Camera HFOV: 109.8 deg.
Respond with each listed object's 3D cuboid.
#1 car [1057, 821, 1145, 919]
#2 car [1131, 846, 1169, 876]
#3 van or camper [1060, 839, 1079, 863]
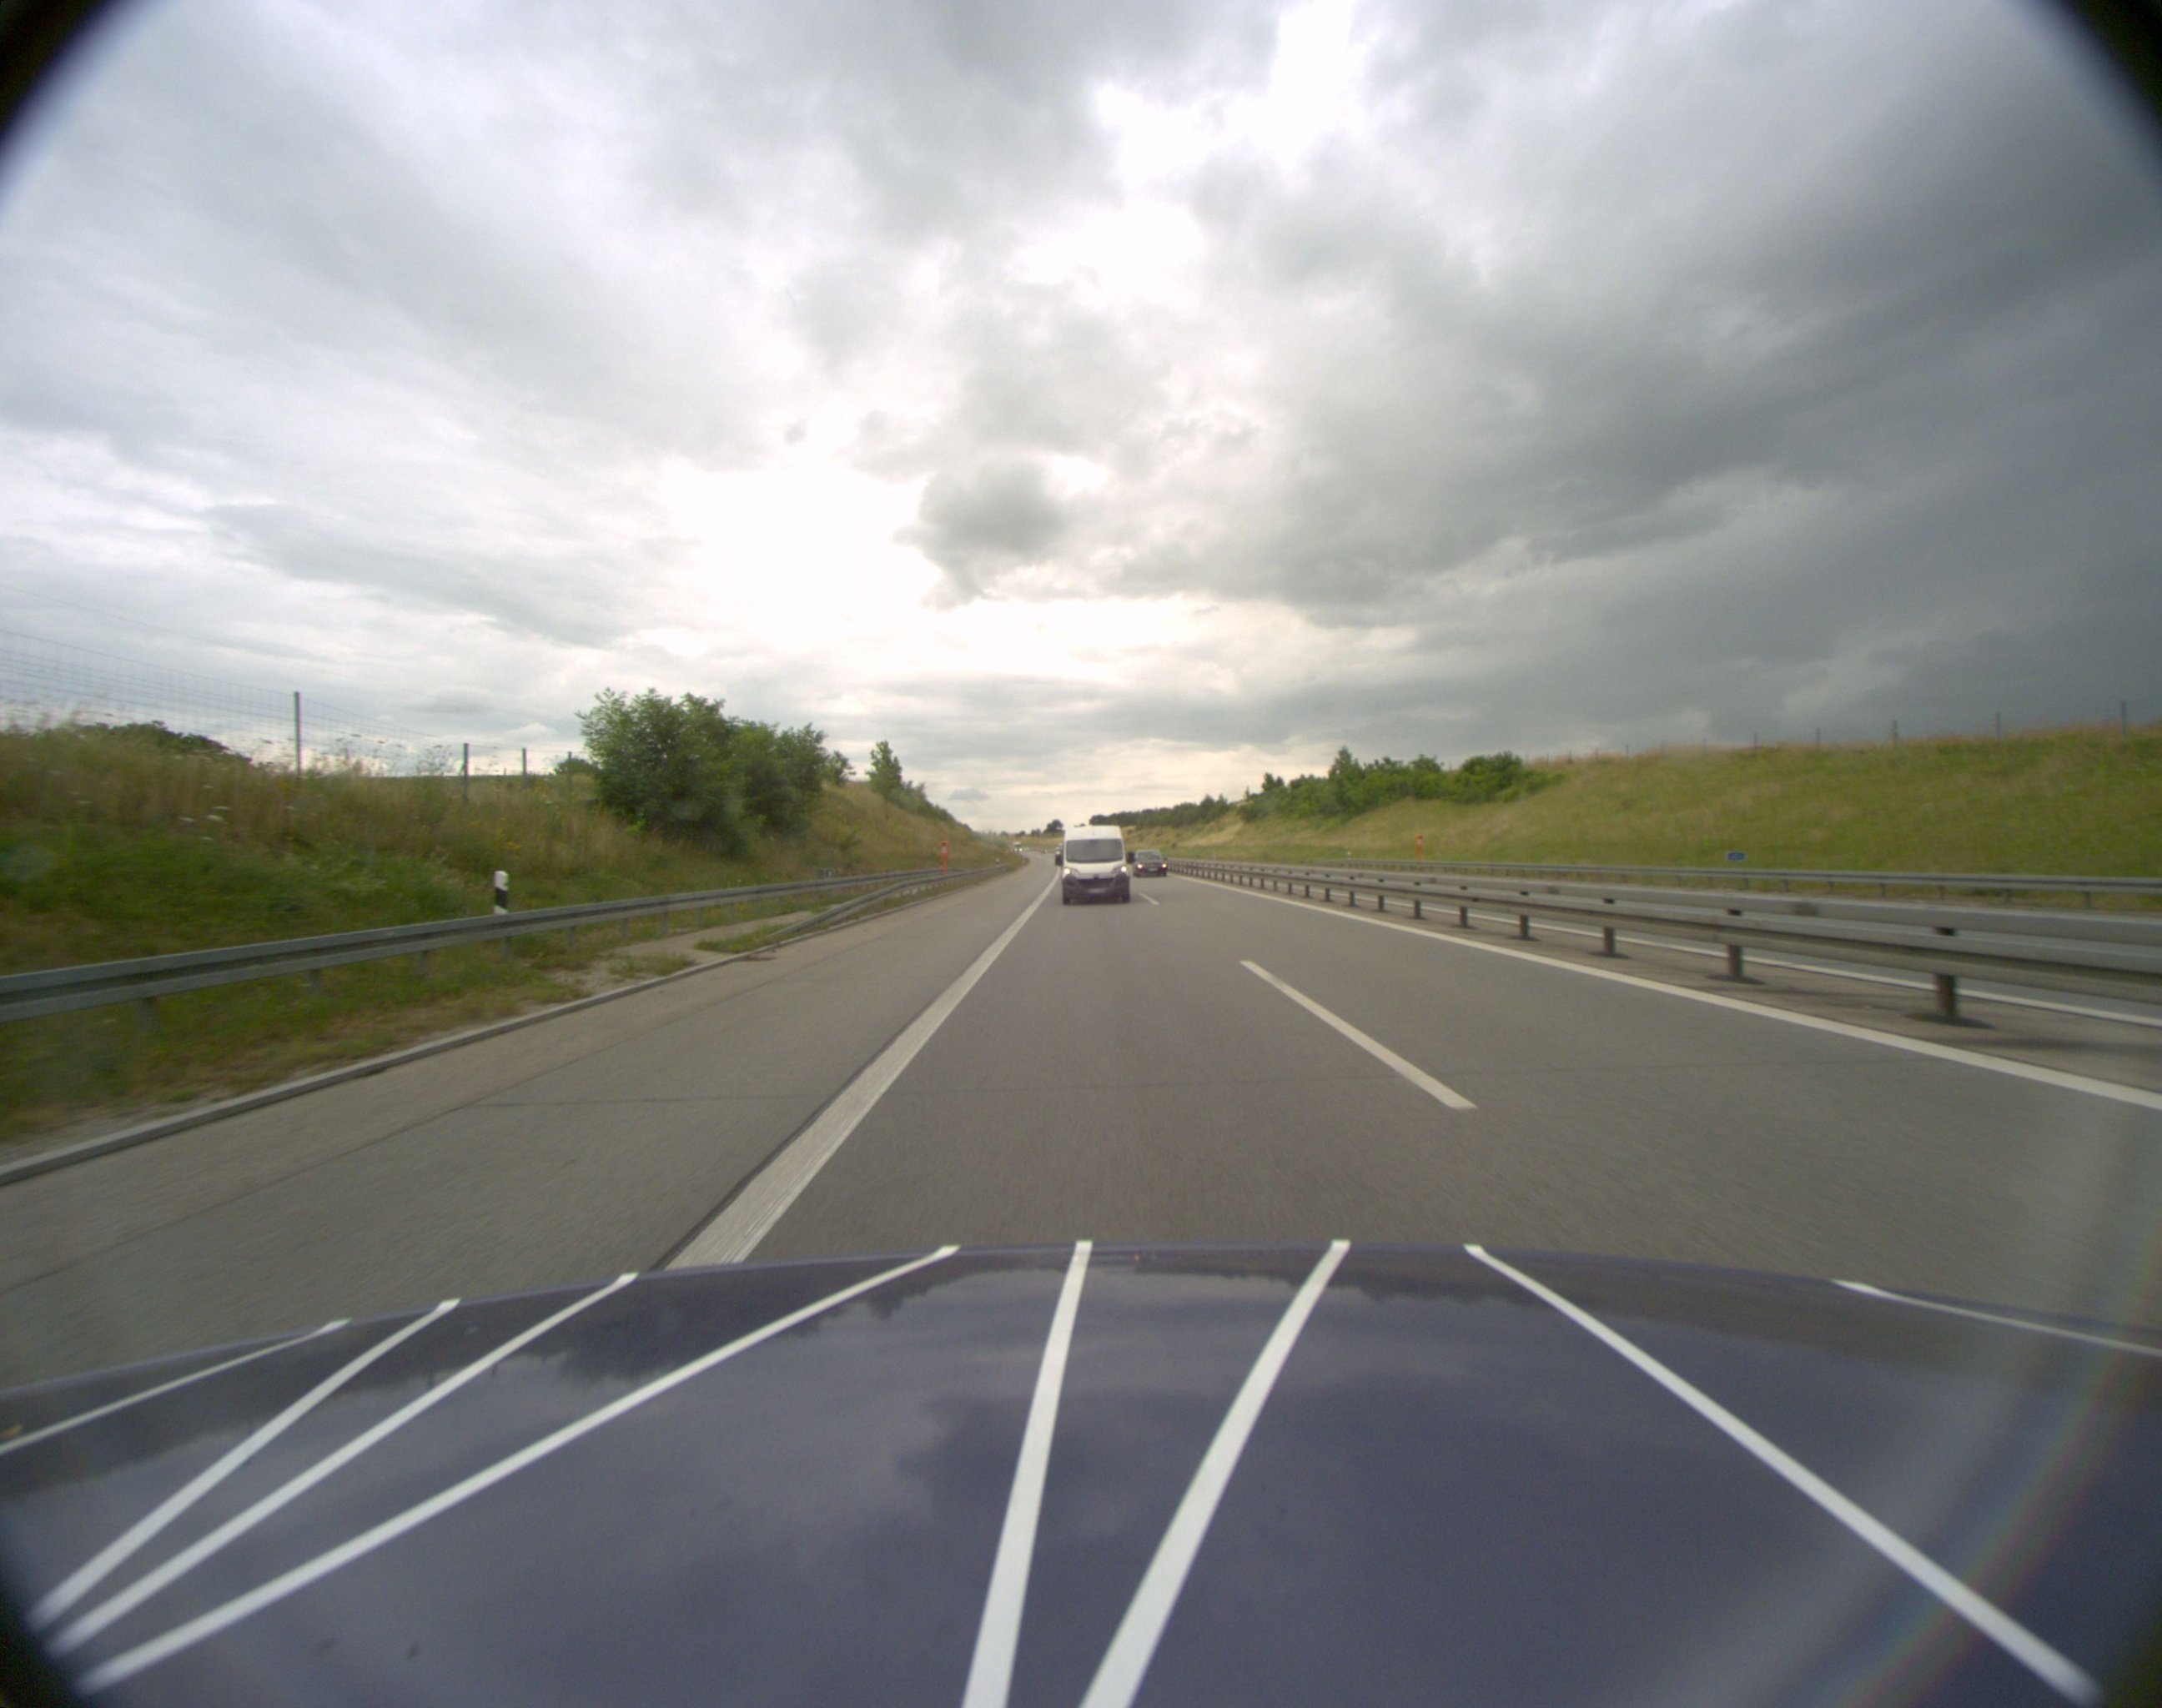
[{"bbox_3d":[0.475,0.357,21.933,2.132,2.412,6.110,-1,1,0],"label":"car"},{"bbox_3d":[4.184,0.386,46.860,1.901,1.661,5.396,-1,0,0],"label":"car"},{"bbox_3d":[-1.484,-0.456,91.600,2.104,2.722,6.899,-2,1,-2],"label":"van or camper"}]
